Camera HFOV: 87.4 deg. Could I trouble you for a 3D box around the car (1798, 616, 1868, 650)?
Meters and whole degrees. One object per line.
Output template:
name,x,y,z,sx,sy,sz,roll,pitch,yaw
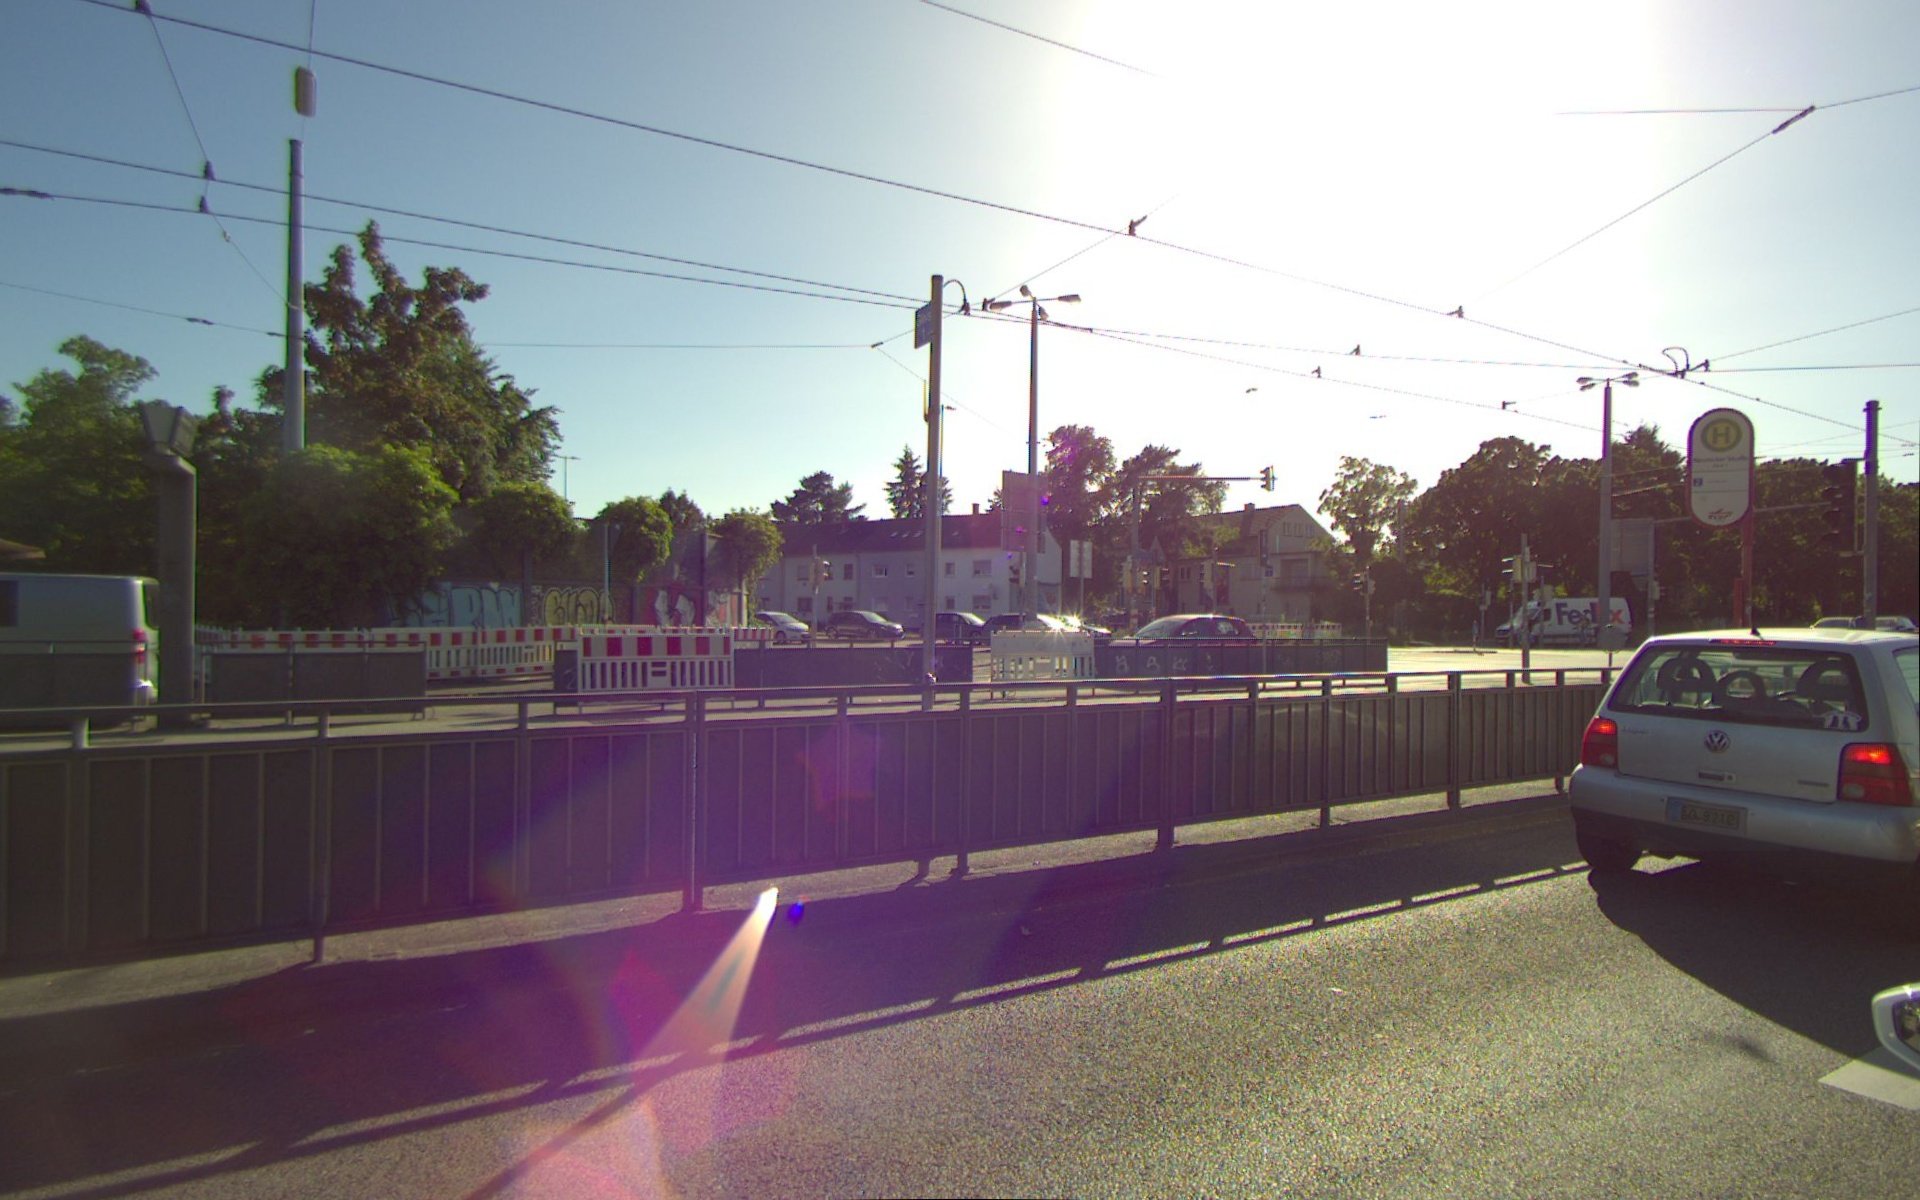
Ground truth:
car,42.428,1.590,48.801,3.963,1.568,1.819,1,-1,-37

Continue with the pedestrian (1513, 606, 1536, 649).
pedestrian,26.842,1.300,47.770,0.785,2.040,0.741,1,-1,-42

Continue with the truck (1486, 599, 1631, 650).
truck,31.516,1.290,52.938,6.694,2.599,1.998,1,-1,-6

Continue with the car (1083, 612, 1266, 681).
car,4.790,1.002,22.300,3.969,1.421,1.597,1,-1,-30

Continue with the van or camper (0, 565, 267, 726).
van or camper,-12.050,0.529,12.112,5.919,1.852,1.983,1,-1,-31

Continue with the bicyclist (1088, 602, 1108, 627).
bicyclist,9.129,0.960,66.347,0.995,1.669,0.813,0,0,42

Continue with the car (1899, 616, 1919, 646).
car,54.270,1.721,56.057,4.712,1.626,1.978,1,1,-38

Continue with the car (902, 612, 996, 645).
car,-0.529,1.281,45.812,4.104,1.451,1.589,0,-1,34

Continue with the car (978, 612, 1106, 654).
car,3.170,1.247,39.211,4.754,1.517,1.781,0,-1,34

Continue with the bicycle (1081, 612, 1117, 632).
bicycle,9.162,1.449,66.300,2.370,1.279,0.813,0,-1,43

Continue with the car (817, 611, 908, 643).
car,-4.769,1.293,48.896,4.212,1.451,1.788,0,-1,34

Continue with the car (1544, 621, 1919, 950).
car,5.198,0.868,5.963,3.312,1.436,1.611,2,-2,-31

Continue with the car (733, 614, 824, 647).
car,-8.528,1.410,47.133,4.104,1.451,1.846,0,-1,34

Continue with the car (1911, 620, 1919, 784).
car,10.770,0.976,9.450,4.038,1.476,1.611,2,0,-31

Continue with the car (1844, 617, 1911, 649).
car,47.312,1.709,51.790,4.245,1.568,1.819,1,-1,-37
